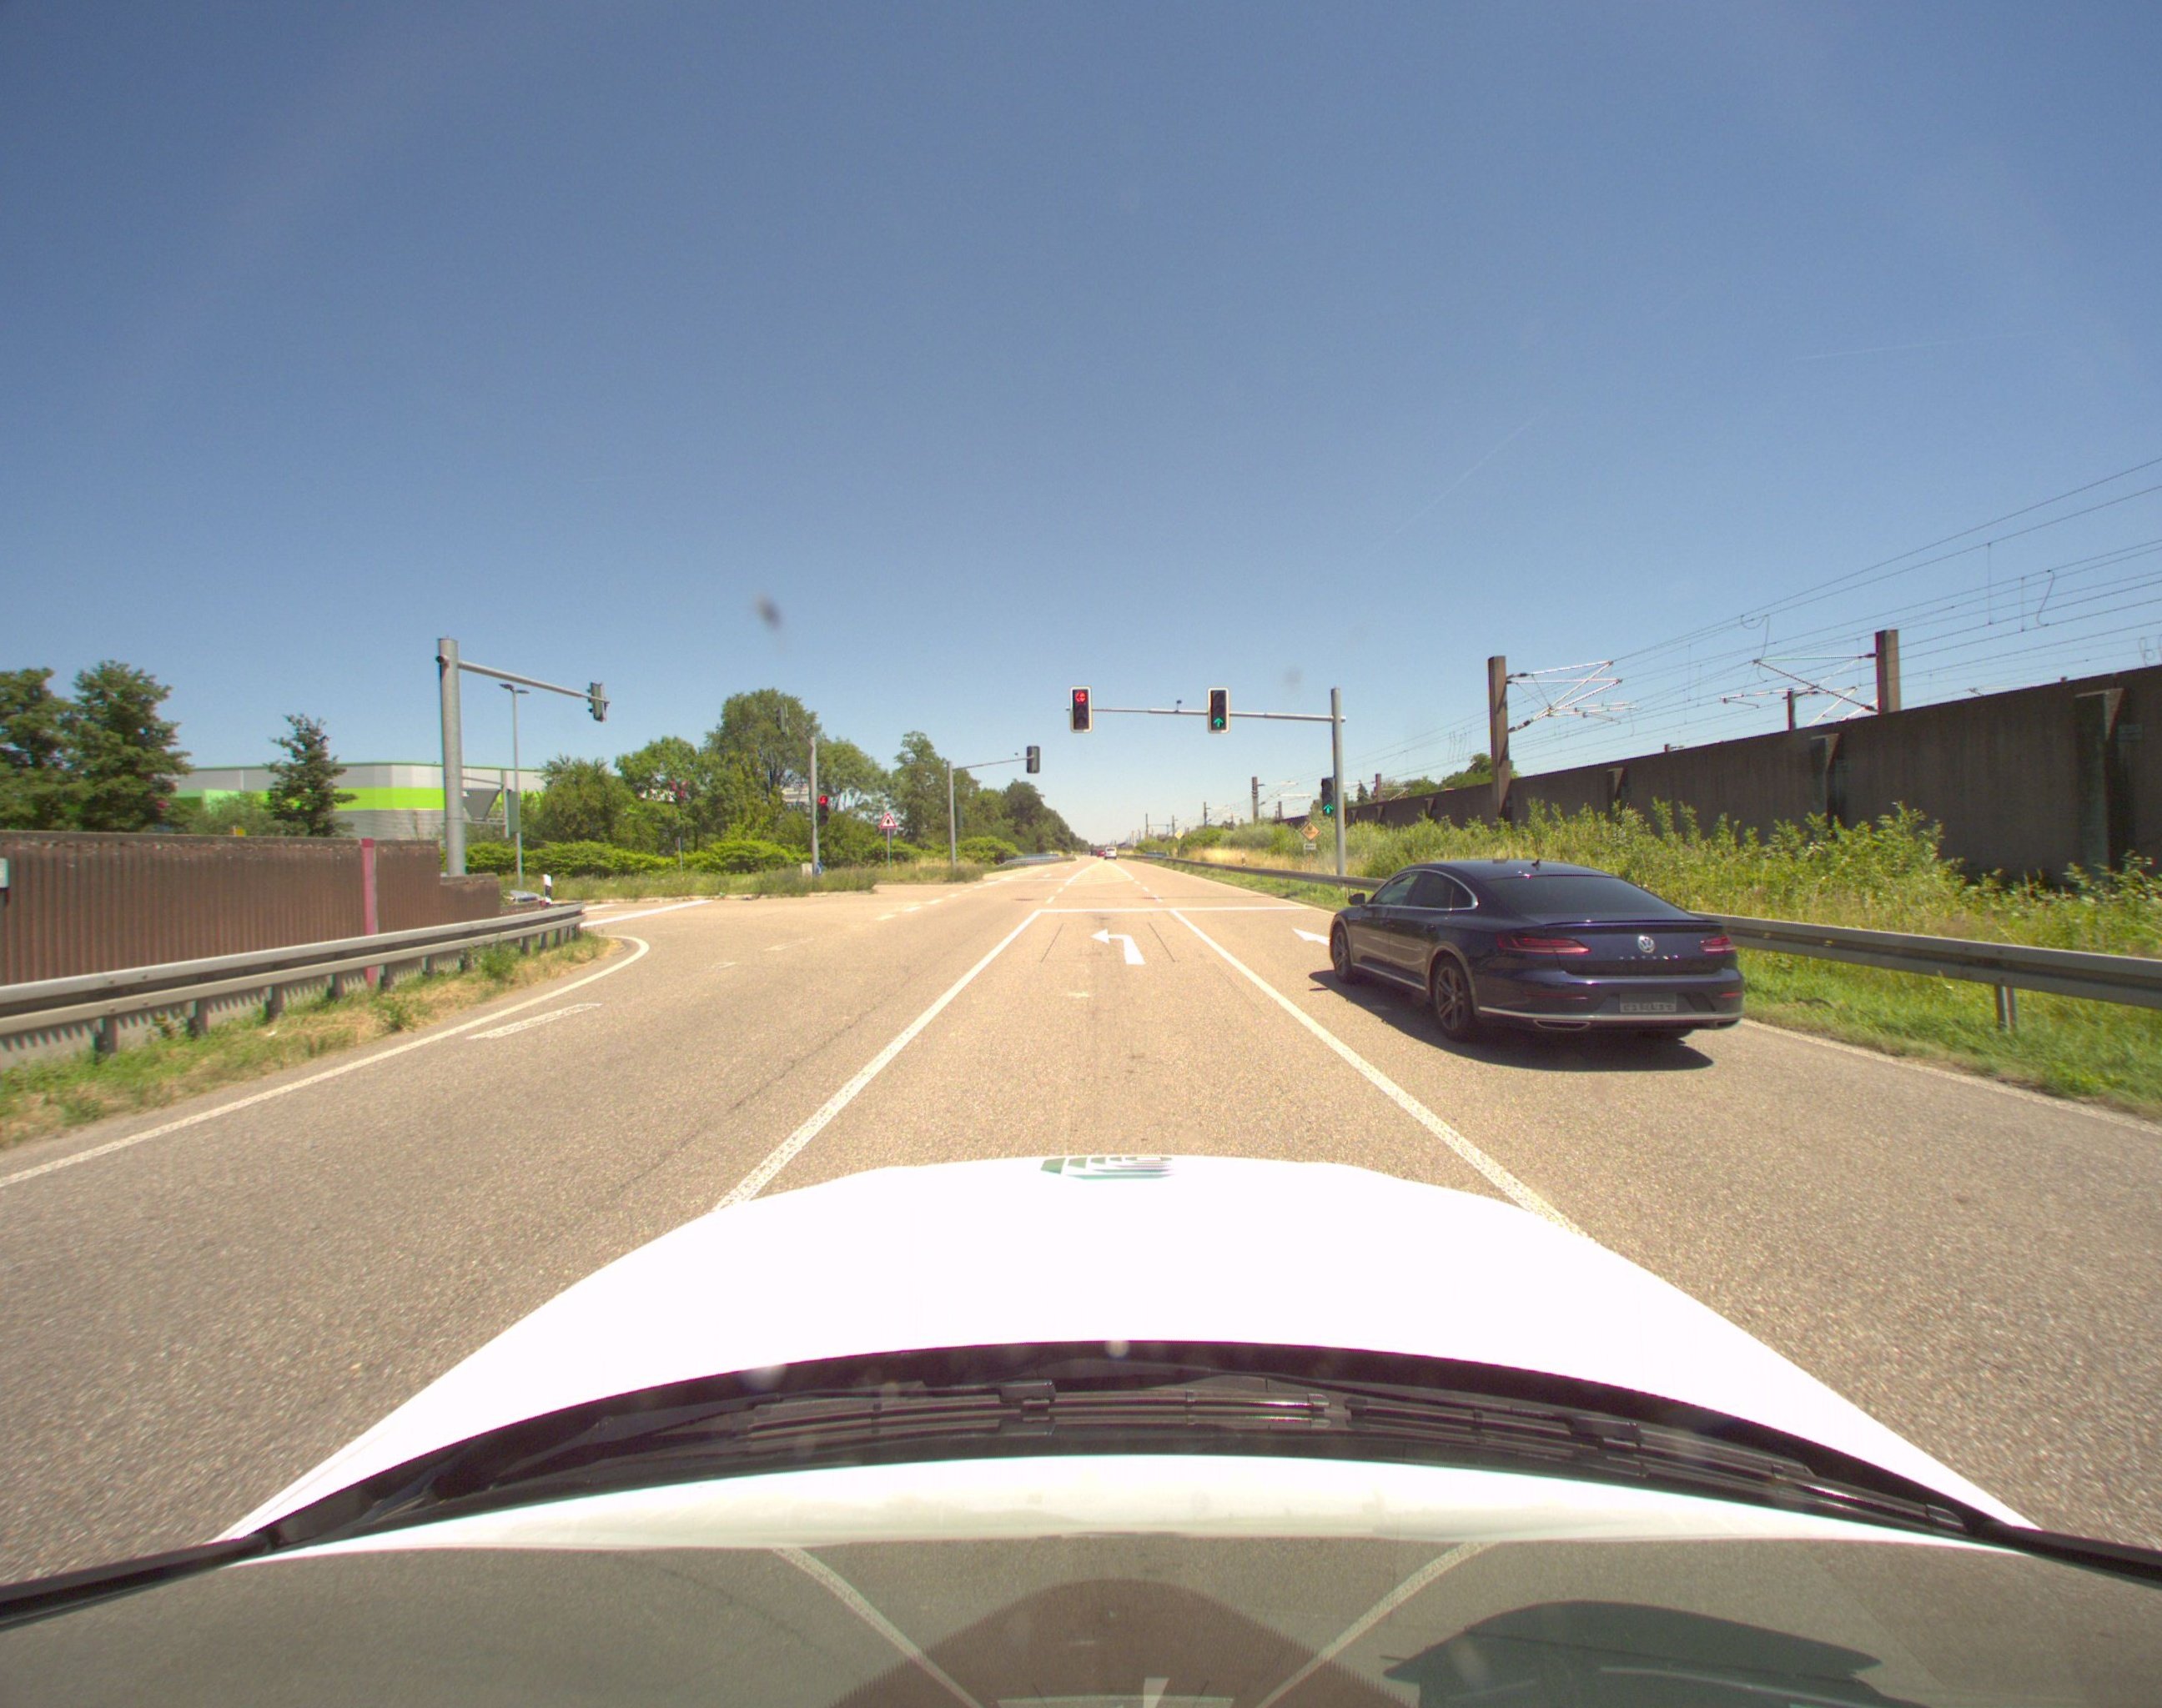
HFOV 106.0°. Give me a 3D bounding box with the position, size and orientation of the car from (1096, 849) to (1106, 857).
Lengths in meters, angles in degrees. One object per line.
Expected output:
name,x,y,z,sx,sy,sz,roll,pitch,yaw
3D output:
car,4.386,-0.268,177.304,2.013,1.726,4.542,-1,0,0

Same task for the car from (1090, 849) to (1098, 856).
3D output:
car,3.766,-0.313,234.398,2.148,1.968,4.542,-1,0,0

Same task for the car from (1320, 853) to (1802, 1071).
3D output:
car,3.783,0.695,7.545,1.850,1.379,4.503,0,0,0

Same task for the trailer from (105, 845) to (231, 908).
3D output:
trailer,-42.258,0.983,37.832,3.780,2.764,1.804,-1,0,-45

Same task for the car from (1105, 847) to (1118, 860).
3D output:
car,4.959,-0.070,131.628,1.987,1.983,4.059,0,0,0
